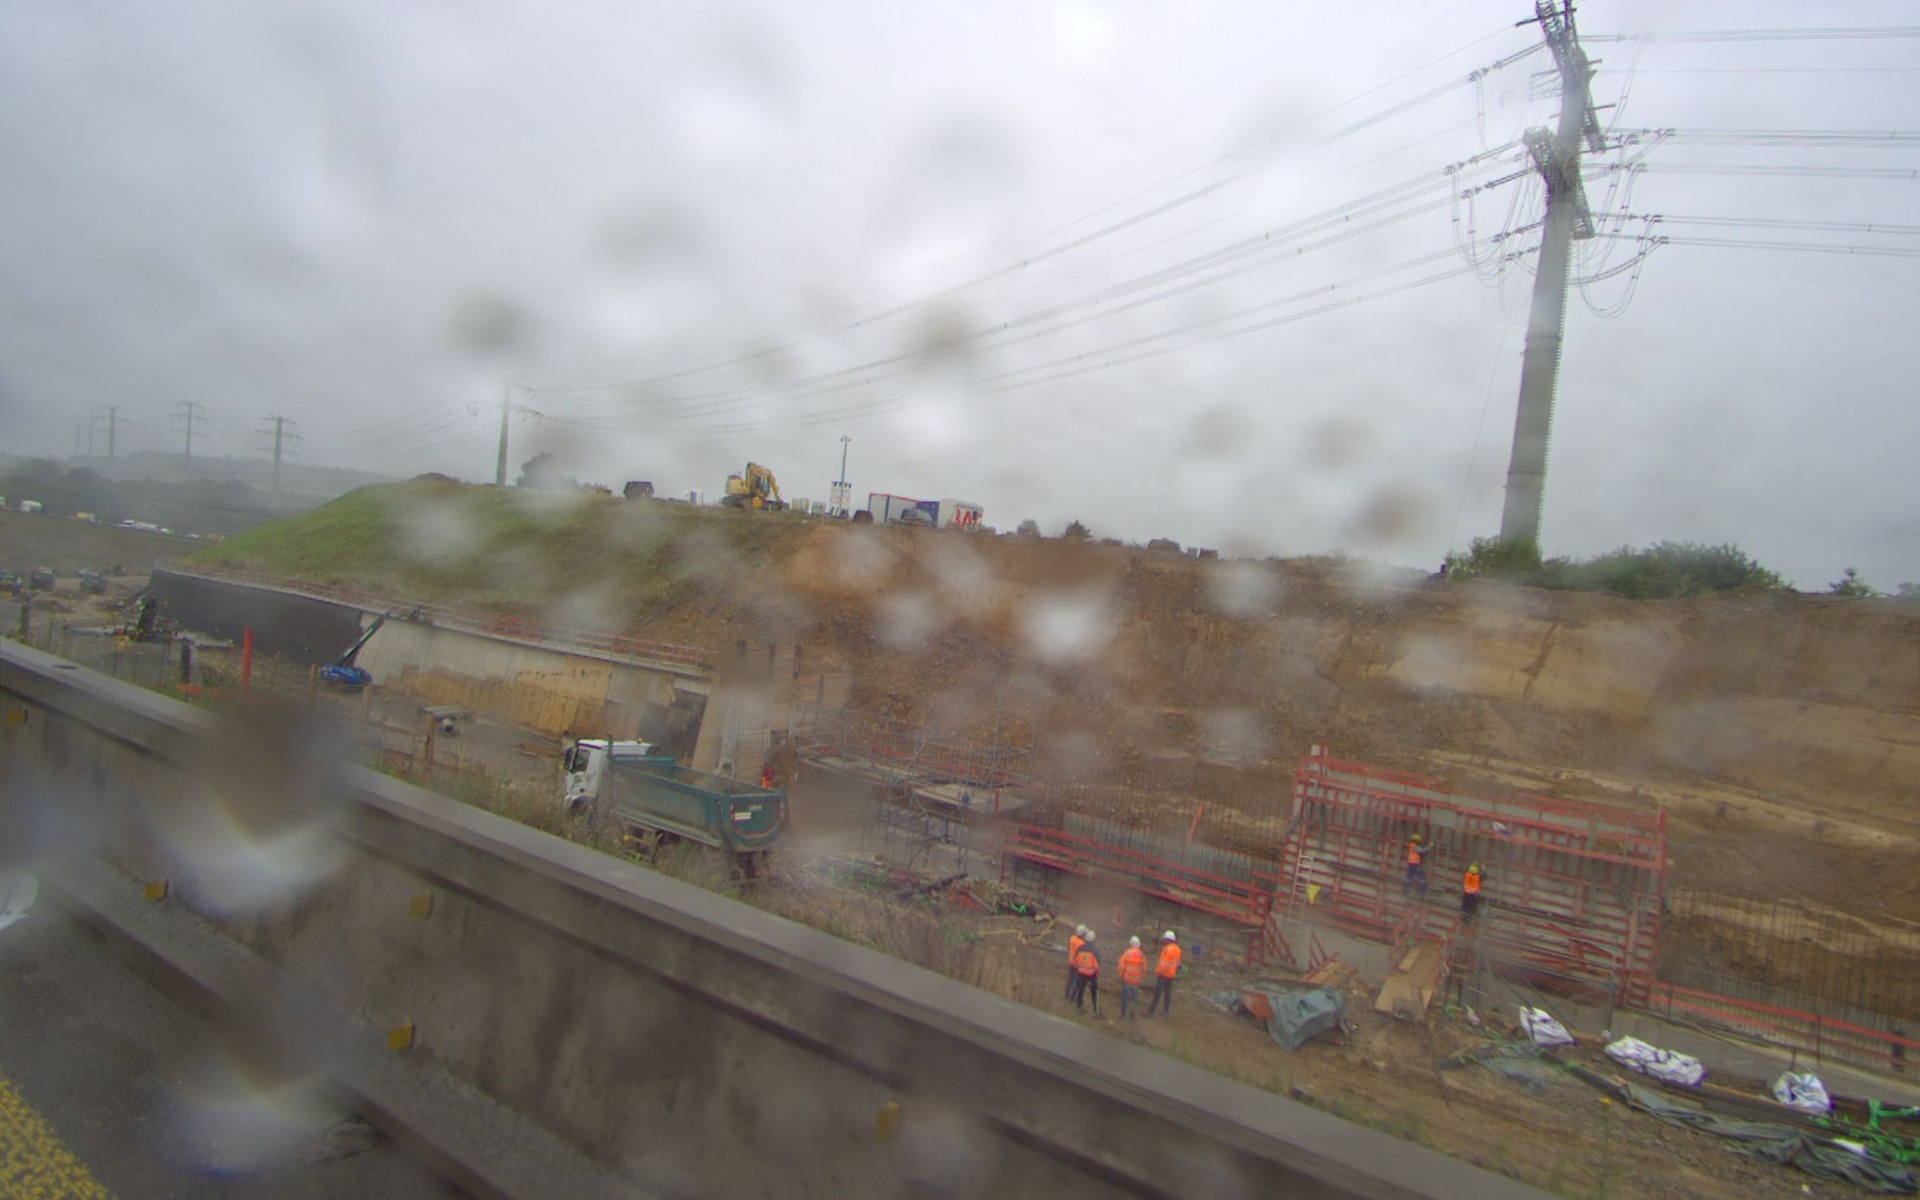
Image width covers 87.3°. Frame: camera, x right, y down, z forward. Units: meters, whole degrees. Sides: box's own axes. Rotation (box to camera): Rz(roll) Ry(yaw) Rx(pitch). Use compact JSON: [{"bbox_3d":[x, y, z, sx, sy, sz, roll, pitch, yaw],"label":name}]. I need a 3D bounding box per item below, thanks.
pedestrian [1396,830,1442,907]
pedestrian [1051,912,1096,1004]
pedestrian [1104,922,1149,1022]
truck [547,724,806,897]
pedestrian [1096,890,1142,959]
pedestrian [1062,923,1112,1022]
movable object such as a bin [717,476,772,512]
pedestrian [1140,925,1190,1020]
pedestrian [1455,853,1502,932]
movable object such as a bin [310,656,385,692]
[{"bbox_3d":[13.796,8.059,30.204,0.885,2.013,0.908,5,-11,36],"label":"pedestrian"},{"bbox_3d":[2.664,8.398,23.647,0.567,1.892,0.732,7,-1,-22],"label":"pedestrian"},{"bbox_3d":[3.764,8.406,22.780,0.721,1.967,0.575,7,0,3],"label":"pedestrian"},{"bbox_3d":[-9.228,6.402,32.103,8.926,3.532,2.731,6,-1,36],"label":"truck"},{"bbox_3d":[5.277,10.758,33.397,0.891,2.013,0.901,6,-11,35],"label":"pedestrian"},{"bbox_3d":[2.863,8.391,22.724,0.724,1.892,0.573,6,-1,38],"label":"pedestrian"},{"bbox_3d":[-18.211,-8.968,85.045,3.910,2.473,2.428,8,0,39],"label":"movable object such as a bin"},{"bbox_3d":[4.713,8.536,23.106,0.725,1.967,0.573,7,0,-21],"label":"pedestrian"},{"bbox_3d":[15.070,8.501,29.225,0.885,2.013,0.908,5,-11,36],"label":"pedestrian"},{"bbox_3d":[-42.296,5.110,69.564,3.772,2.036,2.001,6,-3,-5],"label":"movable object such as a bin"}]
